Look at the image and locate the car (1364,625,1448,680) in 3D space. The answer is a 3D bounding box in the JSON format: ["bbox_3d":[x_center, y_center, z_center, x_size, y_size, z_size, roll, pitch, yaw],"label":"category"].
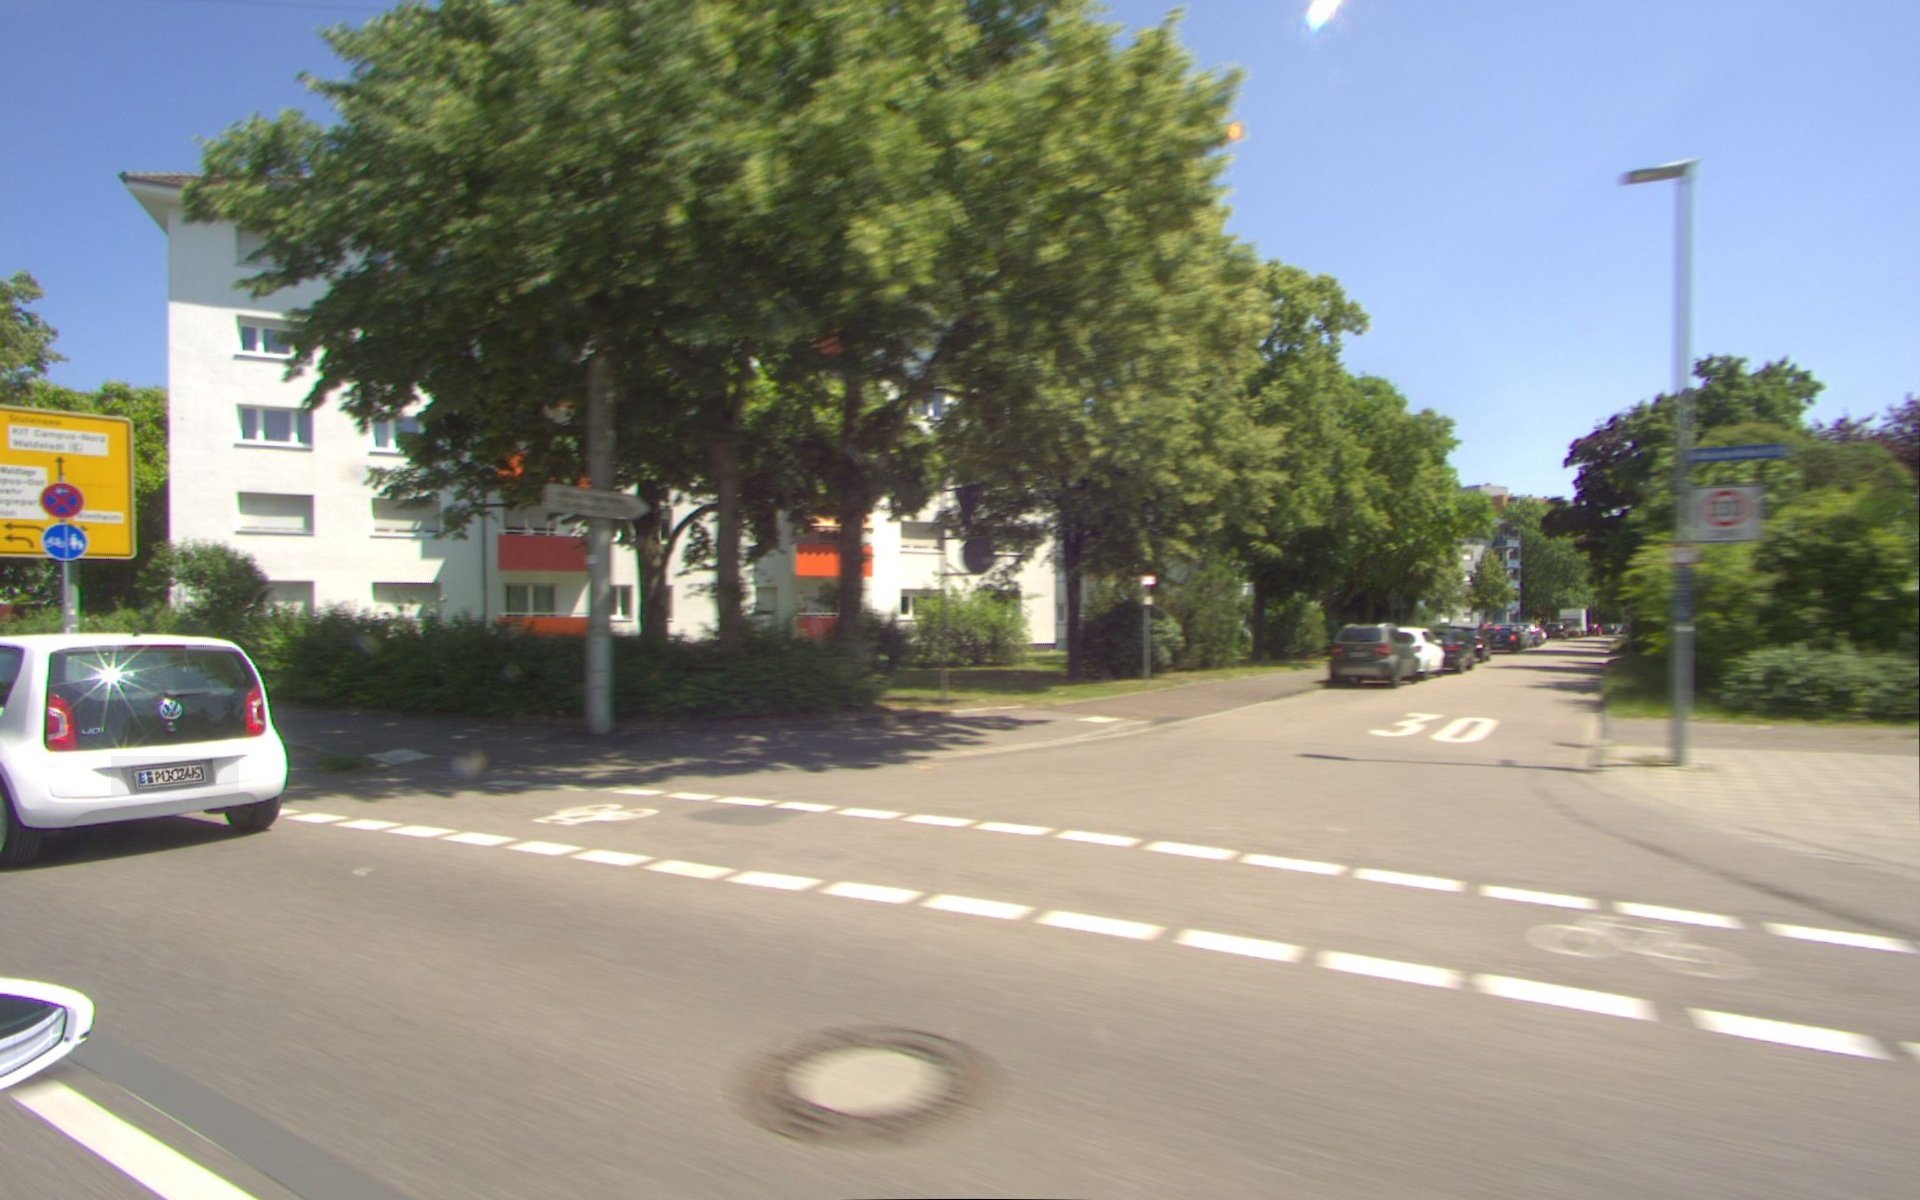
[{"bbox_3d":[13.262,1.528,29.677,1.631,1.524,3.625,-1,-2,35],"label":"car"}]

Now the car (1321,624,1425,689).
[{"bbox_3d":[10.932,1.440,26.374,1.702,1.560,3.977,-1,-2,35],"label":"car"}]

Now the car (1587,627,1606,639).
[{"bbox_3d":[81.906,4.272,128.866,1.972,1.456,3.979,-1,-2,33],"label":"car"}]

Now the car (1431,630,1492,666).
[{"bbox_3d":[21.460,2.003,42.769,1.972,1.456,3.980,-1,-2,32],"label":"car"}]

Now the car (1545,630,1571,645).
[{"bbox_3d":[58.366,3.630,97.672,1.972,1.456,3.979,-1,-2,33],"label":"car"}]

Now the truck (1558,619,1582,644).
[{"bbox_3d":[65.607,3.397,107.655,1.972,2.700,4.258,-1,-2,33],"label":"truck"}]

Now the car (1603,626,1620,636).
[{"bbox_3d":[92.034,4.350,141.407,1.972,1.457,3.978,0,-1,34],"label":"car"}]

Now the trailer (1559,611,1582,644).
[{"bbox_3d":[67.245,3.044,110.212,1.972,3.555,5.836,-1,-2,33],"label":"trailer"}]

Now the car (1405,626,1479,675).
[{"bbox_3d":[16.016,1.648,33.189,1.607,1.515,3.976,-1,-2,35],"label":"car"}]

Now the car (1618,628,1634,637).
[{"bbox_3d":[102.622,5.000,154.336,1.972,1.456,3.979,-1,-2,33],"label":"car"}]

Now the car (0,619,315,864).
[{"bbox_3d":[-6.888,0.911,7.707,3.796,1.467,1.658,-1,-2,30],"label":"car"}]

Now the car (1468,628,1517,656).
[{"bbox_3d":[28.655,2.234,53.814,1.972,1.456,3.979,-1,-2,33],"label":"car"}]

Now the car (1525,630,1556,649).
[{"bbox_3d":[46.553,3.142,80.277,1.972,1.456,3.979,-1,-2,33],"label":"car"}]
